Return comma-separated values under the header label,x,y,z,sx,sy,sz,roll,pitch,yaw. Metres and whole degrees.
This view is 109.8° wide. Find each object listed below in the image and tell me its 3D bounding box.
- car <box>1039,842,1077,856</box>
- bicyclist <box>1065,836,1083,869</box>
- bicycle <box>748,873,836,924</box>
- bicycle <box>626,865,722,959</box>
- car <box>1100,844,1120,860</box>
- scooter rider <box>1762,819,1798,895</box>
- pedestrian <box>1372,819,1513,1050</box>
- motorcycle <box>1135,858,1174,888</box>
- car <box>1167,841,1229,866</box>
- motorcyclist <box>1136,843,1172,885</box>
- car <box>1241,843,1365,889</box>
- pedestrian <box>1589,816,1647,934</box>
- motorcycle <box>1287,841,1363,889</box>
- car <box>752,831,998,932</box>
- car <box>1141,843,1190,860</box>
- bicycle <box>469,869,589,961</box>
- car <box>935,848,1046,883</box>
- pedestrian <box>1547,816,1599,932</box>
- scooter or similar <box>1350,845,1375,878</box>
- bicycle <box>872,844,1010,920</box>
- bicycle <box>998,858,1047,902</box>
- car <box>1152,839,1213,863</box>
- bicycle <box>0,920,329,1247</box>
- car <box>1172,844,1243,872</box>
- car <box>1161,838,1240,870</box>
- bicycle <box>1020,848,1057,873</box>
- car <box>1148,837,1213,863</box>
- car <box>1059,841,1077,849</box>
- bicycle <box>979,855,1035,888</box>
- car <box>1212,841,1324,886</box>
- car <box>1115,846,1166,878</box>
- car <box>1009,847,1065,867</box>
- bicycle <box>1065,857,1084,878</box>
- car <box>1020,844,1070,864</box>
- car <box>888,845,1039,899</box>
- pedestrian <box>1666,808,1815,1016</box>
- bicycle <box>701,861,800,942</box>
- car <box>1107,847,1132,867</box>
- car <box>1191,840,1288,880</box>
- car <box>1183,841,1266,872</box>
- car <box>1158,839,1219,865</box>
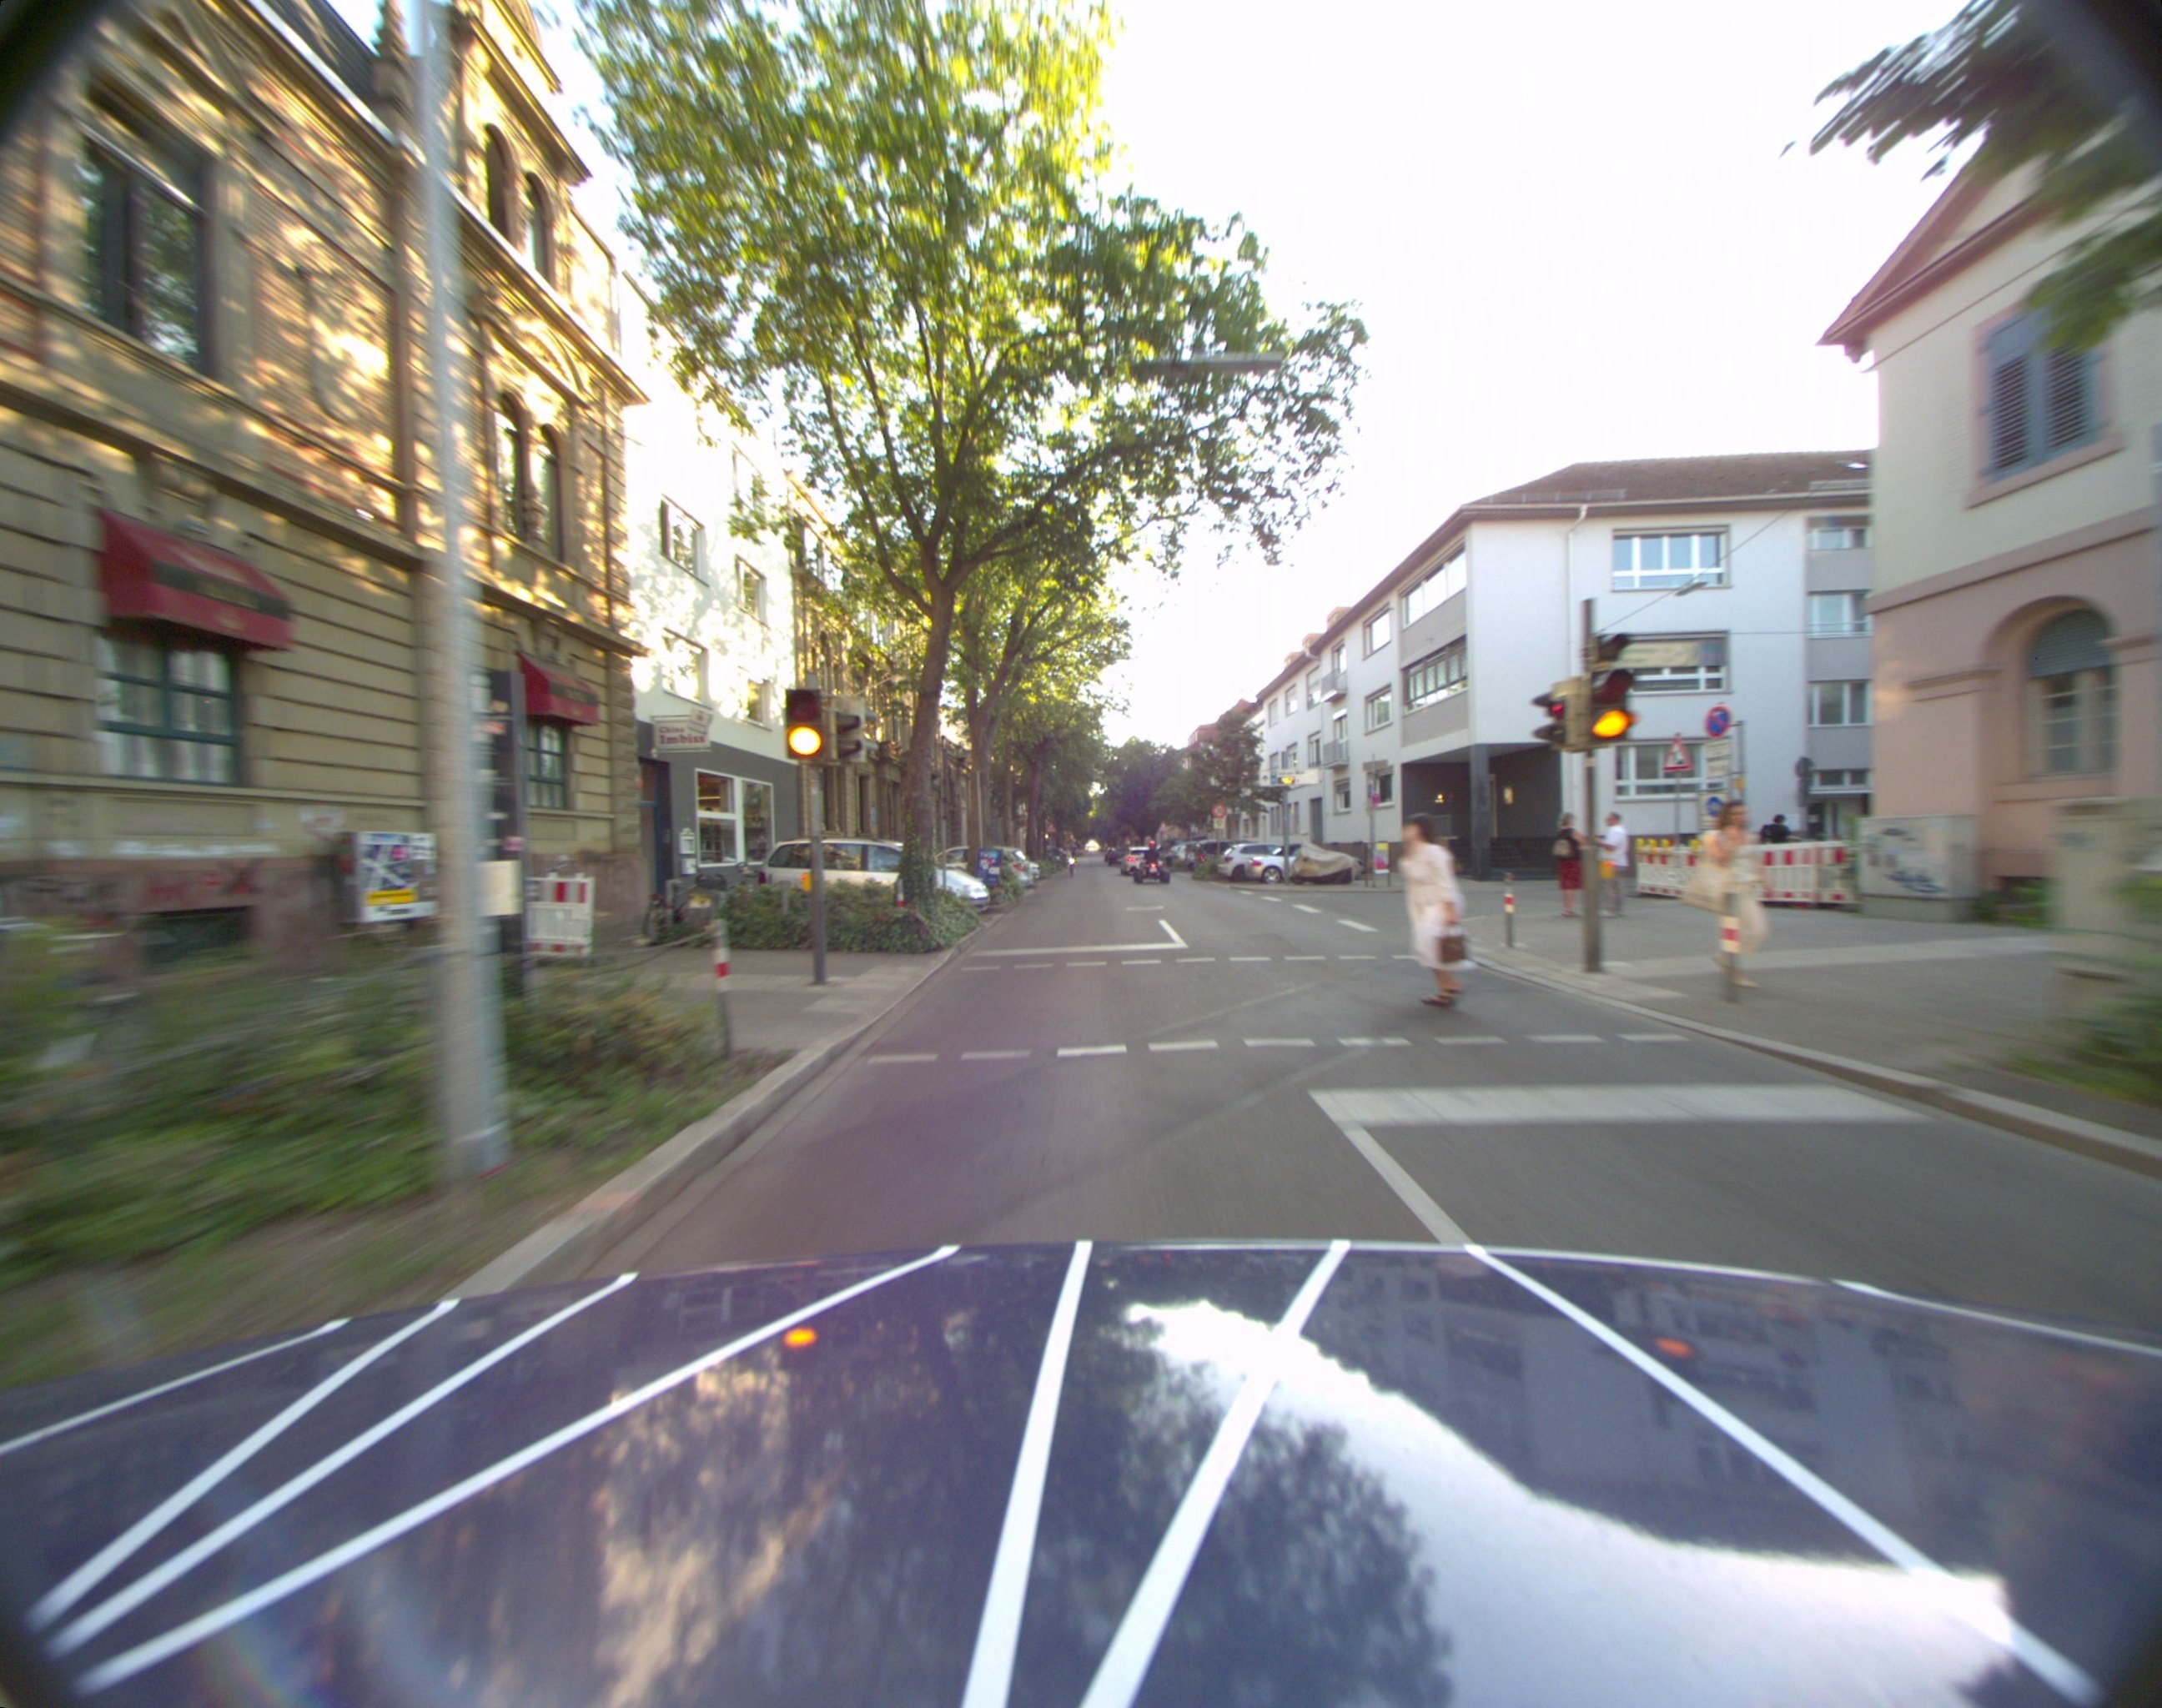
label,x,y,z,sx,sy,sz,roll,pitch,yaw
car,-2.780,-0.617,92.747,4.420,1.552,1.867,2,0,8
bicyclist,-0.337,-0.097,38.185,0.753,1.612,1.147,-2,1,4
bicycle,-4.924,0.733,13.137,0.582,0.661,2.329,-3,1,1
bicycle,-5.951,0.809,11.214,0.386,1.228,1.725,-1,1,3
car,3.012,-0.193,80.175,1.882,1.631,4.645,-1,1,0
scooter rider,16.853,0.062,18.325,0.876,1.781,0.494,-2,1,-38
pedestrian,3.134,0.652,6.643,0.771,1.877,0.792,-2,1,-11
motorcycle,2.843,0.715,29.757,1.315,1.084,2.396,-1,1,1
car,7.904,-0.027,51.541,3.855,1.442,1.855,-3,0,1
motorcyclist,2.843,0.395,29.652,1.283,1.583,1.077,-1,1,1
car,7.554,0.382,26.106,3.748,1.303,1.844,-3,1,5
pedestrian,8.613,0.328,12.200,0.555,1.840,0.612,-1,1,15
motorcycle,7.466,0.333,23.243,2.150,1.411,0.969,0,2,22
car,-4.095,0.524,15.727,4.552,1.904,1.950,-1,1,-2
car,8.262,-0.231,74.308,4.436,1.399,1.717,-3,2,-3
bicycle,-7.893,0.826,10.950,0.386,1.204,1.726,-1,0,3
car,-3.954,0.504,33.619,4.594,1.429,1.925,-1,1,3
pedestrian,8.037,0.319,12.430,0.555,1.840,0.612,-1,1,15
scooter or similar,11.301,0.287,30.541,0.516,1.254,1.420,-2,2,5
bicycle,-3.317,0.652,18.230,3.122,1.654,0.658,-2,1,-4
bicycle,-1.654,0.734,21.644,1.340,1.197,0.488,0,1,0
car,7.871,-0.256,59.135,4.365,1.564,1.930,-4,1,1
bicycle,-4.533,0.972,3.216,0.525,1.146,2.248,-1,1,-3
car,7.683,0.240,46.501,4.038,1.485,1.780,-3,1,4
car,7.633,-0.009,48.909,4.677,1.755,2.156,-3,1,0
bicycle,-2.487,0.382,44.553,2.051,1.353,0.508,-3,1,-1
car,8.055,-0.312,61.878,5.003,1.979,2.189,-2,1,0
car,-2.690,-1.918,156.789,3.552,1.411,1.590,-4,1,1
bicycle,-2.735,0.648,28.056,2.026,1.197,0.488,0,1,-12
car,7.046,0.342,28.861,3.751,1.450,1.735,-3,1,0
car,3.029,0.390,39.375,1.882,1.540,4.272,-1,1,-6
car,-3.408,0.219,59.603,4.234,1.472,1.854,1,1,1
bicycle,-0.314,0.645,38.211,0.778,0.967,2.024,-2,1,4
car,-3.223,-0.032,68.660,4.451,1.708,1.968,0,2,1
car,-3.512,0.542,23.334,4.234,1.551,1.971,-1,0,4
pedestrian,6.032,0.511,7.010,0.791,1.780,0.772,-4,0,28
bicycle,-5.687,0.776,13.226,0.582,1.232,2.161,-1,1,5
car,3.128,0.226,62.698,1.881,1.540,4.274,1,1,1
car,7.297,0.268,35.338,4.103,1.622,1.936,-2,1,2
car,7.652,0.120,40.782,4.085,1.432,1.755,-3,1,2
car,7.930,-0.162,56.205,4.165,1.582,1.823,-4,1,1
